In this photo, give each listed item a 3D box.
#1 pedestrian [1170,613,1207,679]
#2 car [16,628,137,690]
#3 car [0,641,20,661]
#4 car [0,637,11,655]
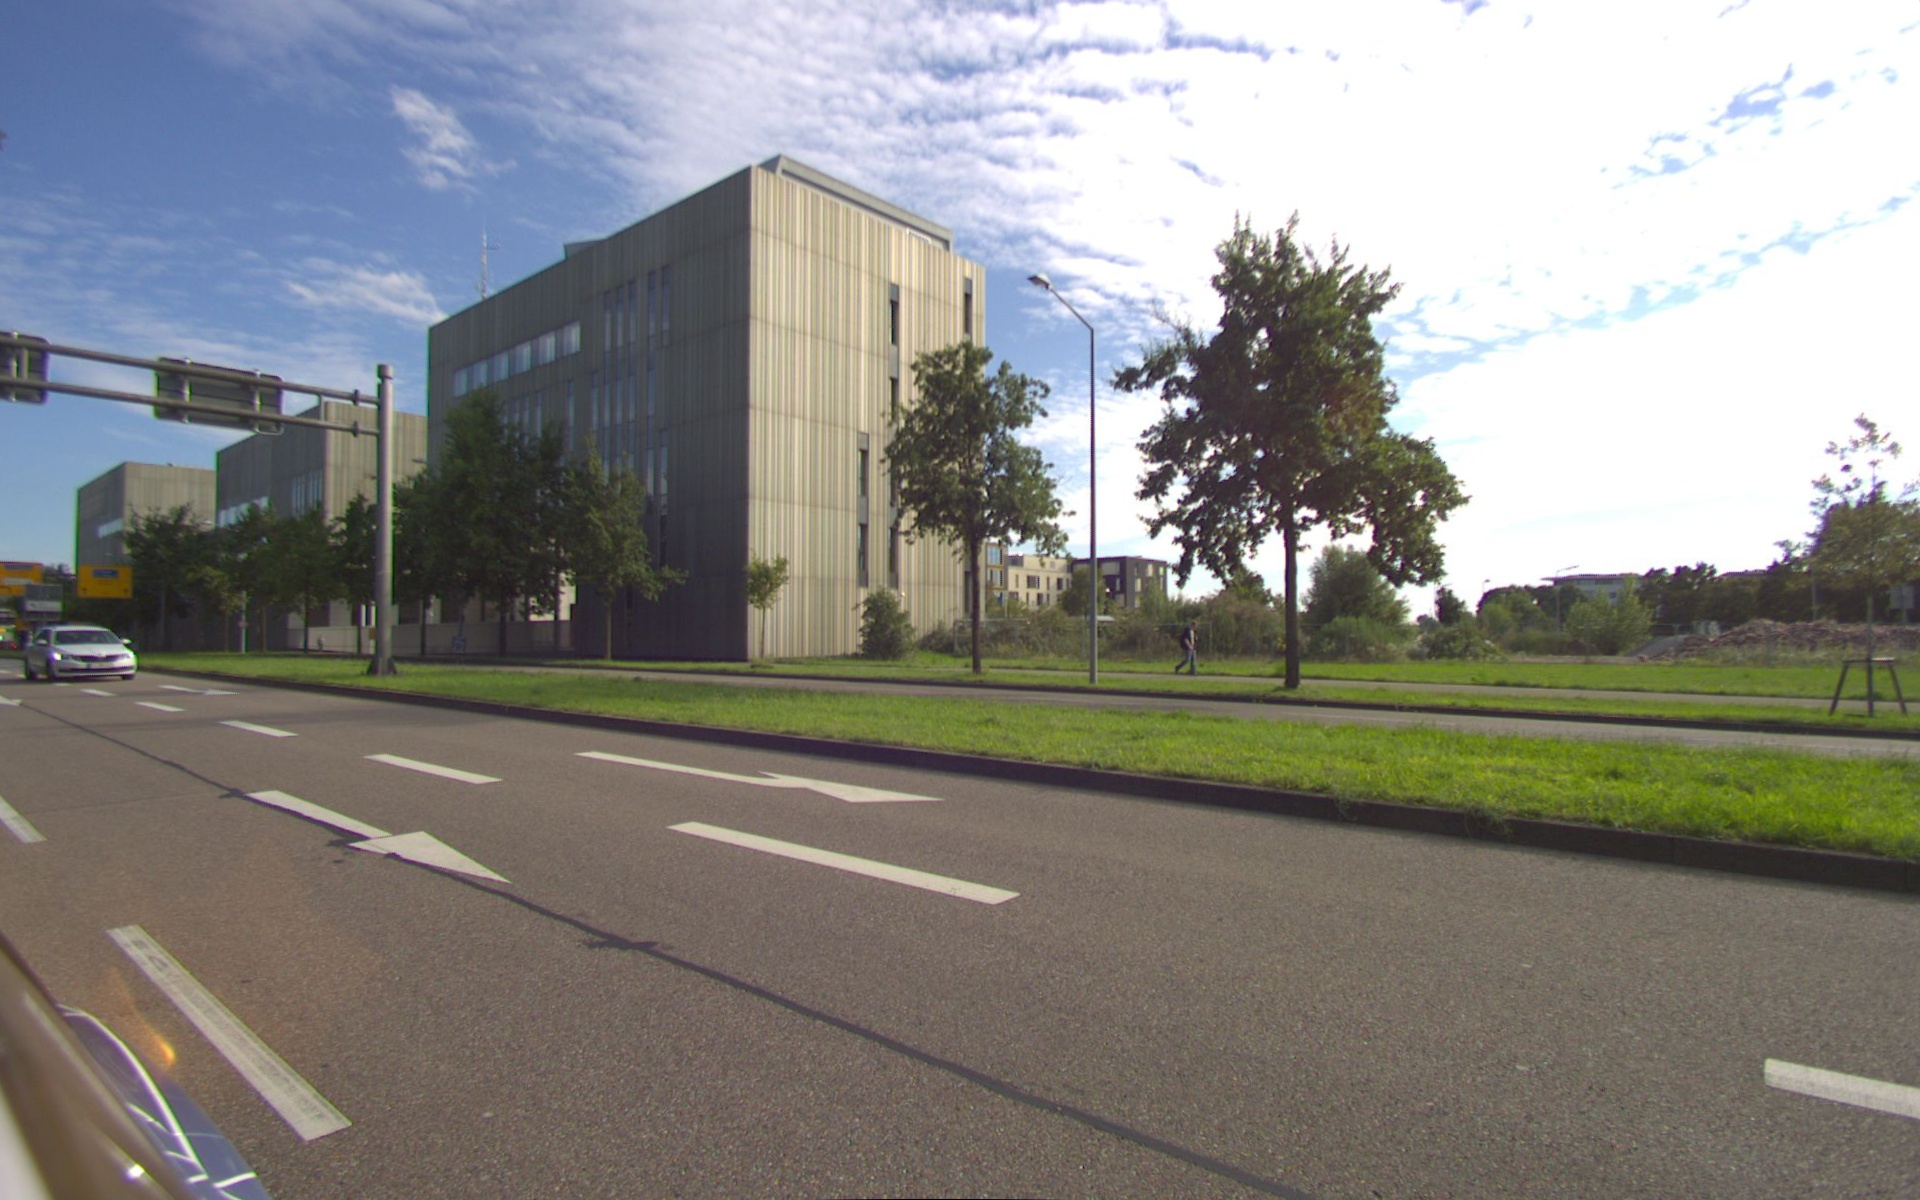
[{"bbox_3d":[7.094,1.421,31.415,0.866,2.029,0.667,-2,-3,40],"label":"pedestrian"},{"bbox_3d":[-23.818,1.543,27.233,4.476,1.510,1.682,-2,-2,38],"label":"car"},{"bbox_3d":[-98.975,5.284,104.745,3.997,2.029,1.973,-2,-3,41],"label":"car"},{"bbox_3d":[-109.894,5.265,115.379,3.980,2.029,1.973,-2,-3,41],"label":"car"}]
